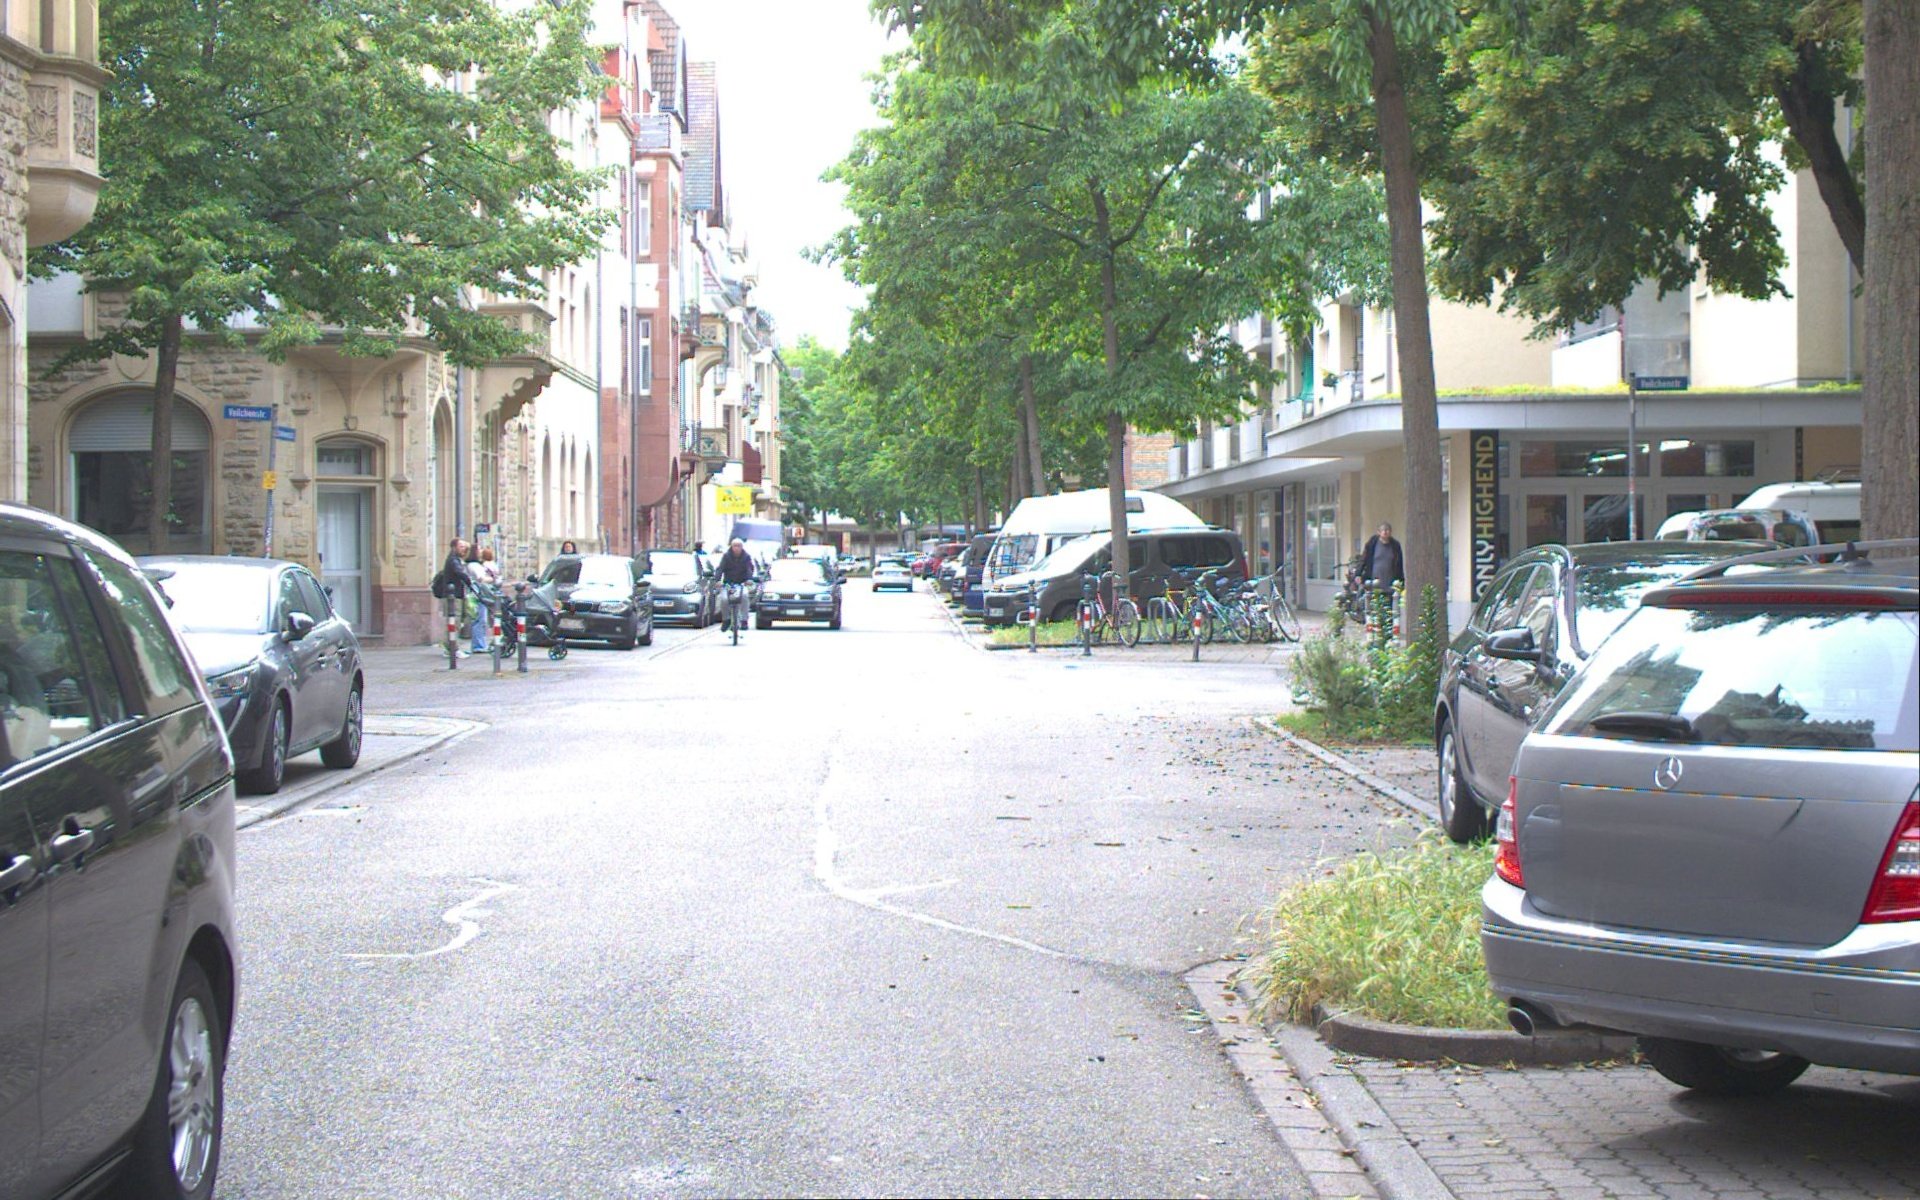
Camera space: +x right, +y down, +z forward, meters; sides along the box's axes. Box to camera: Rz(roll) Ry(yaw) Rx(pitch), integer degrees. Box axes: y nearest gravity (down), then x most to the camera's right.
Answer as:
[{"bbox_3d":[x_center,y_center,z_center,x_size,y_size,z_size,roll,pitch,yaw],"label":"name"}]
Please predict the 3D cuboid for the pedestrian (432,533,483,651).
[{"bbox_3d":[-7.030,-0.113,48.150,0.528,1.637,0.528,1,1,11],"label":"pedestrian"}]

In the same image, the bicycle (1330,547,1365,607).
[{"bbox_3d":[7.079,-0.425,62.897,0.484,1.086,1.701,0,1,1],"label":"bicycle"}]

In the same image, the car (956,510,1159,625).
[{"bbox_3d":[1.969,-0.661,67.920,2.064,2.189,4.391,0,1,32],"label":"car"}]

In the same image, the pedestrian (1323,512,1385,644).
[{"bbox_3d":[5.415,-0.307,47.281,0.779,1.791,0.509,0,1,1],"label":"pedestrian"}]

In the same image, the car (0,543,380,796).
[{"bbox_3d":[-4.944,0.380,22.239,1.727,1.429,3.882,1,1,-1],"label":"car"}]

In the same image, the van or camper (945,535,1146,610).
[{"bbox_3d":[2.329,-0.739,93.220,5.005,1.863,2.127,-2,1,-28],"label":"van or camper"}]

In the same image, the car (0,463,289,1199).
[{"bbox_3d":[-2.488,0.583,5.936,1.809,1.624,4.208,0,1,0],"label":"car"}]

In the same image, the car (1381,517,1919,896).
[{"bbox_3d":[3.197,0.392,16.193,1.764,1.481,4.480,-2,1,-1],"label":"car"}]

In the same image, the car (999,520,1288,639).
[{"bbox_3d":[3.017,-0.359,56.497,4.331,1.847,1.911,-1,1,-26],"label":"car"}]

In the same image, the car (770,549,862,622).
[{"bbox_3d":[-2.870,-0.279,69.004,1.708,1.408,3.852,-1,0,0],"label":"car"}]

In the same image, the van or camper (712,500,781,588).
[{"bbox_3d":[-7.078,-1.887,114.622,2.008,2.642,5.317,0,4,-1],"label":"van or camper"}]

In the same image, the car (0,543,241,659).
[{"bbox_3d":[-11.855,0.013,47.026,3.570,1.455,1.649,-1,3,9],"label":"car"}]

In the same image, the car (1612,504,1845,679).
[{"bbox_3d":[8.396,-0.126,37.871,1.770,1.813,4.000,0,1,2],"label":"car"}]

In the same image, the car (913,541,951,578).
[{"bbox_3d":[-1.621,-2.356,197.566,1.993,2.007,4.000,3,1,-1],"label":"car"}]

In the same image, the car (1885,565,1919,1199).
[{"bbox_3d":[3.728,0.646,6.546,3.872,1.430,1.746,-1,2,-36],"label":"car"}]

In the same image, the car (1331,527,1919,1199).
[{"bbox_3d":[3.208,0.499,8.997,4.432,1.422,1.758,-3,1,-38],"label":"car"}]

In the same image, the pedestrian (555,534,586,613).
[{"bbox_3d":[-7.428,-0.508,65.610,0.515,1.513,0.546,0,1,-1],"label":"pedestrian"}]

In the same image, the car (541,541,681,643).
[{"bbox_3d":[-5.391,-0.109,53.492,1.709,1.489,4.000,1,0,1],"label":"car"}]

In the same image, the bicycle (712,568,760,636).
[{"bbox_3d":[-3.688,0.026,56.651,0.634,1.090,1.799,0,0,1],"label":"bicycle"}]

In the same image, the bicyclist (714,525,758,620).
[{"bbox_3d":[-3.694,-0.455,56.690,0.647,1.533,0.677,-1,1,2],"label":"bicyclist"}]

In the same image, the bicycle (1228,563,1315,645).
[{"bbox_3d":[4.582,0.050,50.609,0.548,1.169,1.698,-1,1,-22],"label":"bicycle"}]

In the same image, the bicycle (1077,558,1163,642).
[{"bbox_3d":[2.276,-0.009,49.029,0.548,1.169,1.729,-1,1,-22],"label":"bicycle"}]

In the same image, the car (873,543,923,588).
[{"bbox_3d":[-2.576,-1.429,143.328,1.993,1.788,4.000,1,0,0],"label":"car"}]

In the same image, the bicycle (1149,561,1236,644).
[{"bbox_3d":[3.369,0.018,49.893,0.548,1.169,1.729,-1,1,-22],"label":"bicycle"}]

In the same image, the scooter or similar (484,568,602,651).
[{"bbox_3d":[-5.863,0.125,48.368,1.470,1.100,0.675,2,1,11],"label":"scooter or similar"}]

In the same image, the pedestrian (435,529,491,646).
[{"bbox_3d":[-7.060,-0.181,48.824,0.616,1.637,0.603,1,1,11],"label":"pedestrian"}]

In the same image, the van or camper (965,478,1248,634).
[{"bbox_3d":[2.534,-0.786,59.136,4.582,2.587,1.911,-1,1,-33],"label":"van or camper"}]

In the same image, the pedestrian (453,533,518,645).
[{"bbox_3d":[-6.842,-0.161,49.556,0.631,1.588,0.668,1,1,40],"label":"pedestrian"}]

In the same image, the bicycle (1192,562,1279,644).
[{"bbox_3d":[4.017,0.035,50.228,0.548,1.169,1.729,-1,1,-22],"label":"bicycle"}]

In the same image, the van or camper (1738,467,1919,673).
[{"bbox_3d":[12.950,-0.411,43.664,5.772,2.485,2.136,0,4,6],"label":"van or camper"}]

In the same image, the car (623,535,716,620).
[{"bbox_3d":[-5.738,-0.457,68.178,1.646,1.565,2.957,1,2,-2],"label":"car"}]
